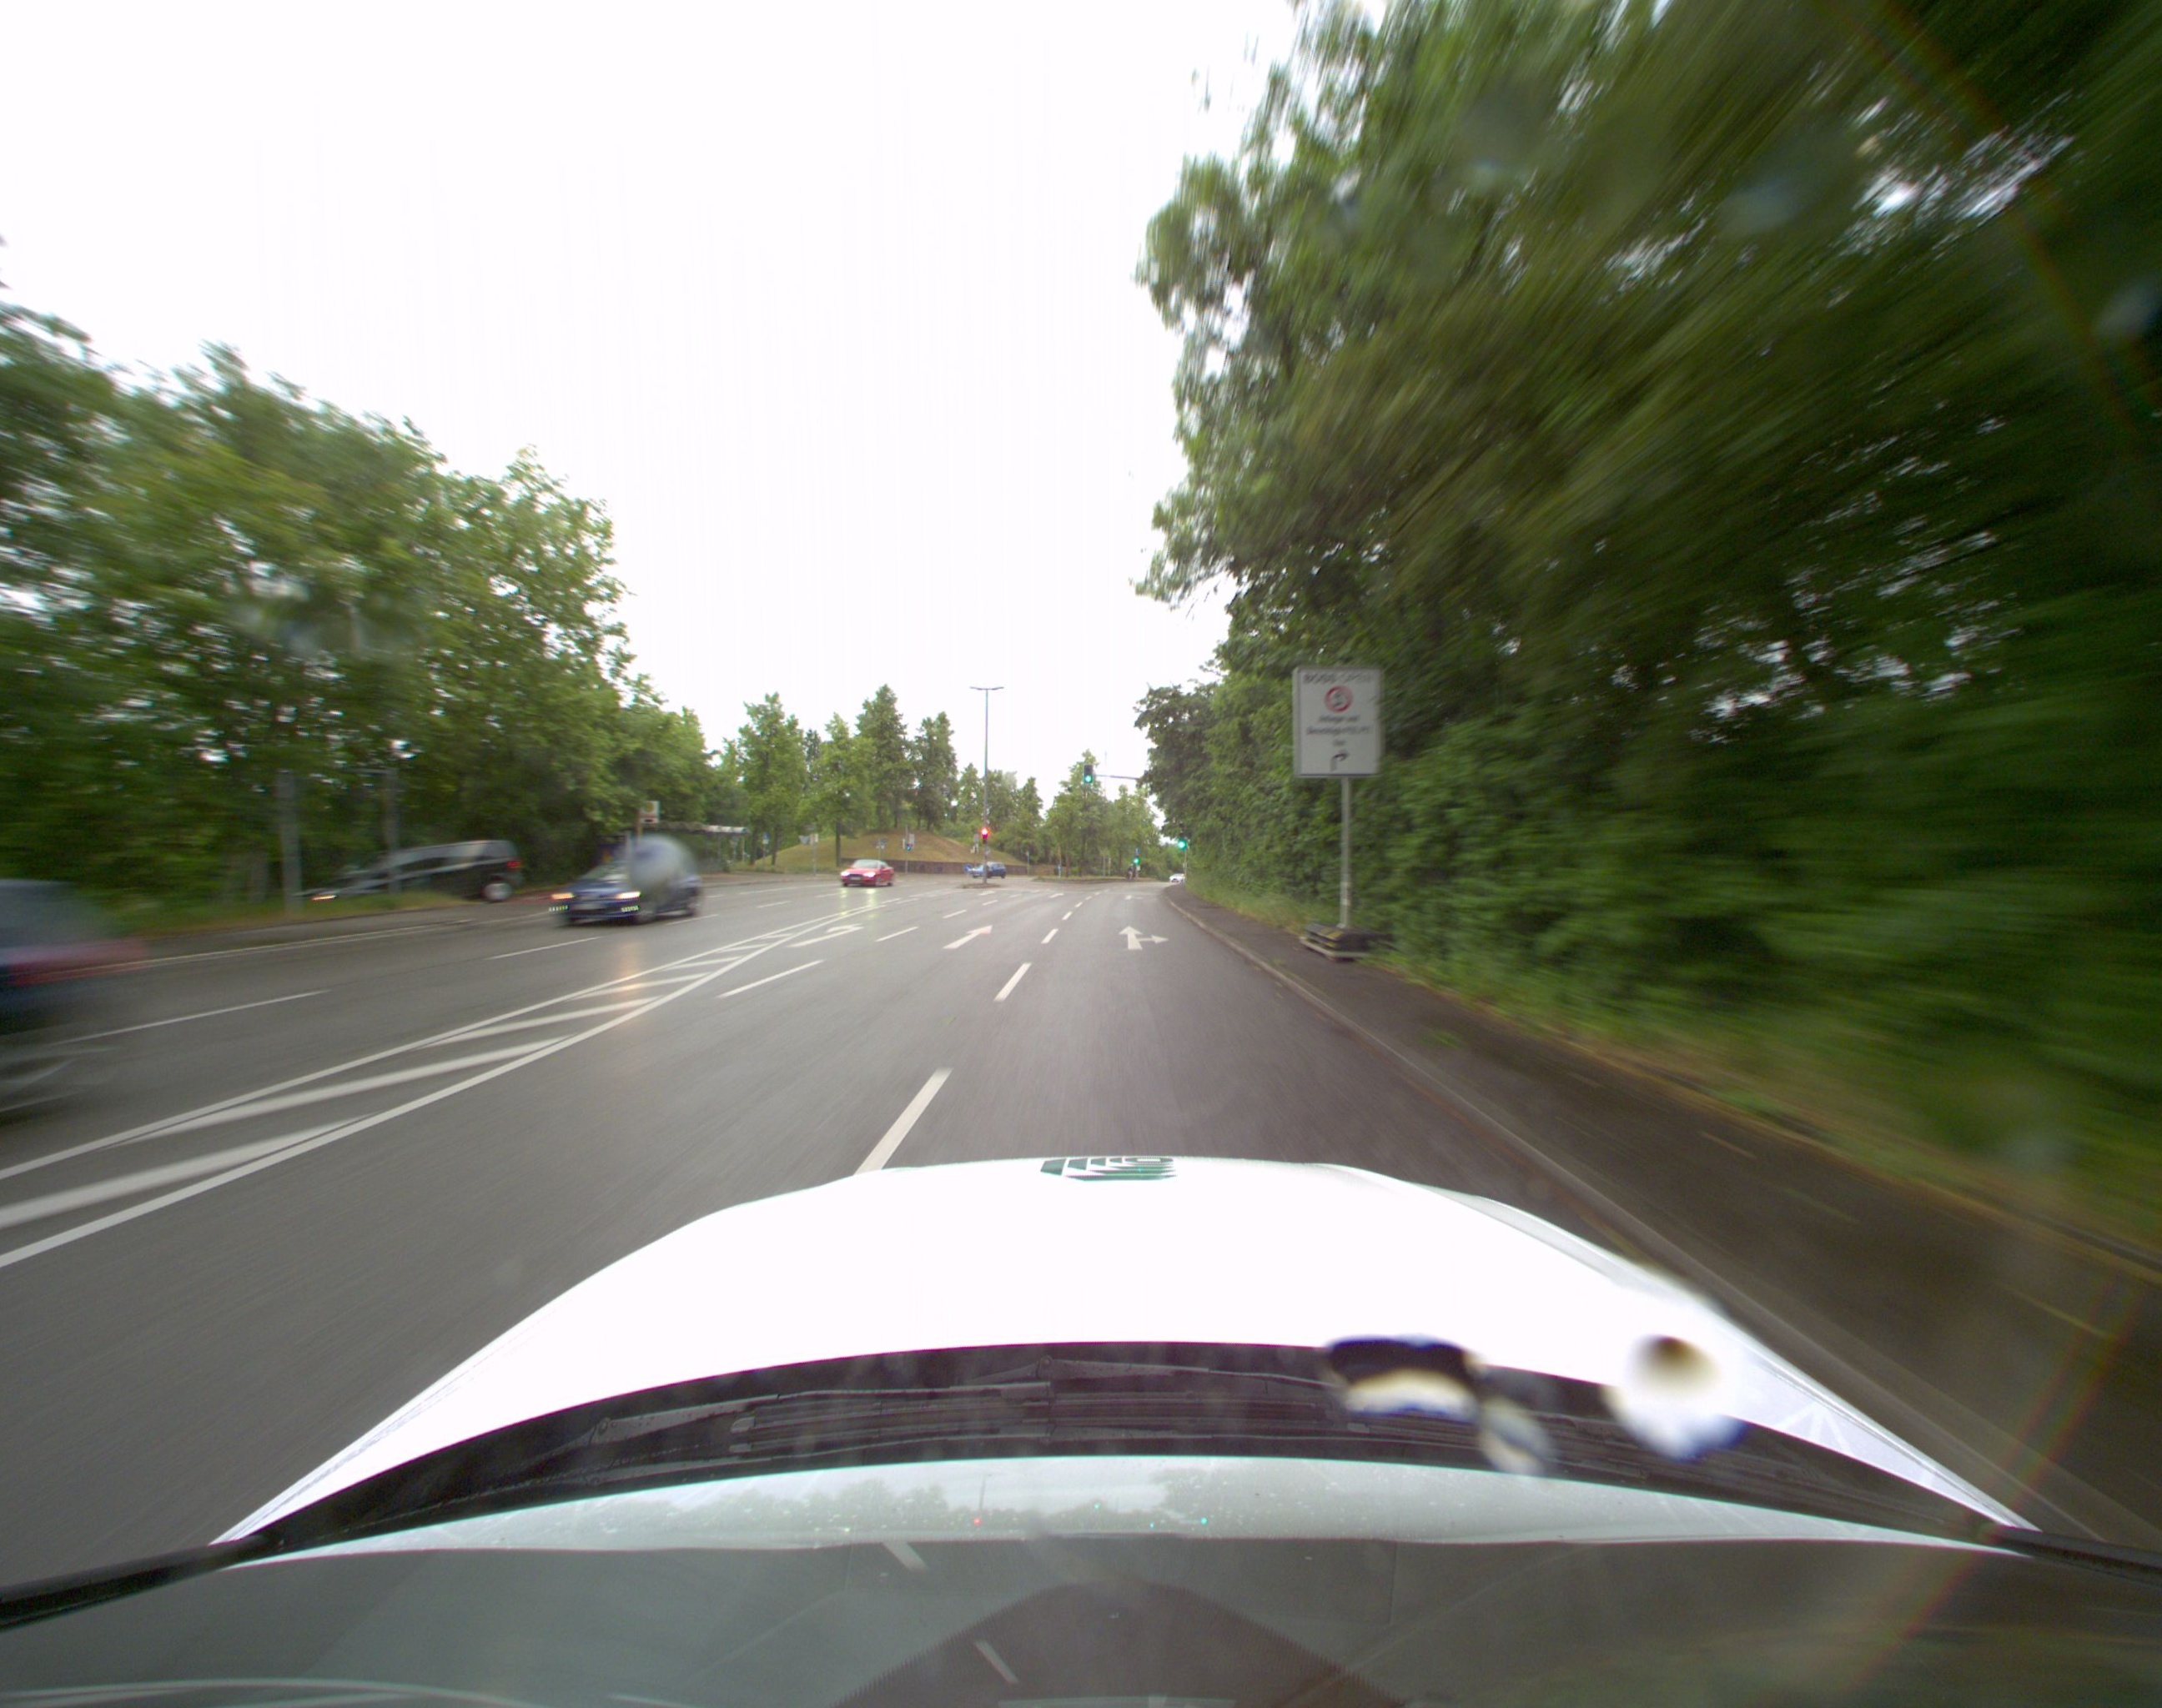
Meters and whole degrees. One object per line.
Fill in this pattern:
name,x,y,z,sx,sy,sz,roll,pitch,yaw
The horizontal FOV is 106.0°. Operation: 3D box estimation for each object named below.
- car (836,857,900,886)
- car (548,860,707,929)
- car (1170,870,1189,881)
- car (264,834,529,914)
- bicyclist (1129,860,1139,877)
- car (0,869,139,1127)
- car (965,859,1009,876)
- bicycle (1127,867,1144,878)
car,-10.941,0.871,42.162,1.867,1.374,4.390,0,0,4
car,-10.414,0.858,19.063,1.627,1.394,3.996,0,0,-3
car,16.337,3.650,135.294,1.928,1.636,5.029,1,-2,21
car,-18.673,0.464,22.595,2.084,1.946,5.188,-2,1,22
bicyclist,5.883,1.625,90.155,0.805,1.753,0.716,4,-6,-40
car,-6.830,0.819,3.171,1.697,1.427,4.073,1,0,-4
car,-8.454,1.211,73.550,1.975,1.490,3.961,0,0,28
bicycle,6.039,2.056,90.152,2.151,1.143,0.547,3,-2,-40
